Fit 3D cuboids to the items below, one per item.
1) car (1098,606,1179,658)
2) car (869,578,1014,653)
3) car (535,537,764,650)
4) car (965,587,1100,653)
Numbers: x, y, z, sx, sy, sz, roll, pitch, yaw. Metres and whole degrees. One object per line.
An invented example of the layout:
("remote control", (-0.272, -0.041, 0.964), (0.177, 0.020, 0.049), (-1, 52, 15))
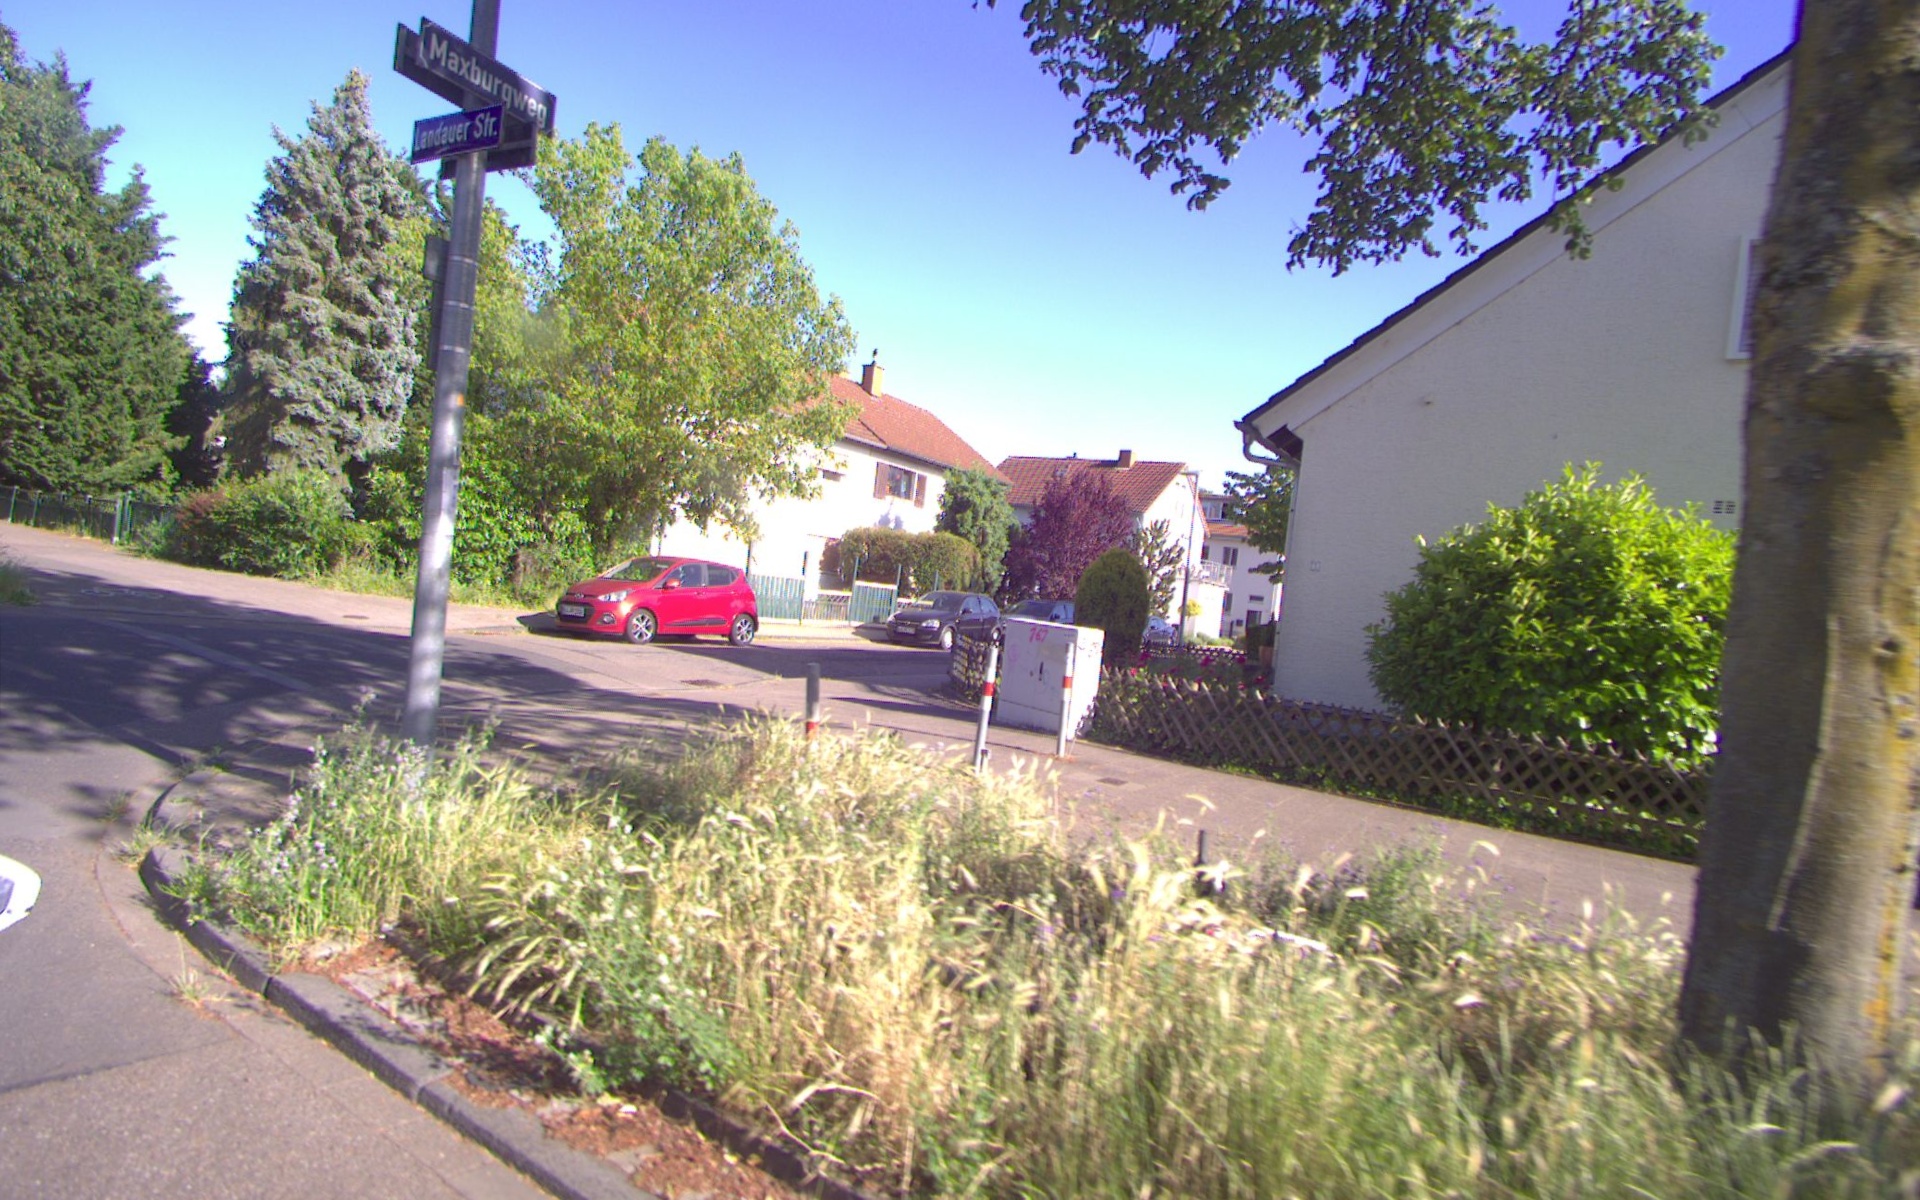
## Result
("car", (6.328, 1.163, 35.373), (1.612, 1.529, 3.546), (7, 0, 29))
("car", (-0.371, 0.443, 25.333), (1.811, 1.530, 3.960), (7, 1, 29))
("car", (-5.242, -0.049, 17.410), (1.612, 1.529, 3.546), (8, 1, 29))
("car", (2.197, 0.631, 29.366), (1.858, 1.530, 4.300), (8, 1, 34))
